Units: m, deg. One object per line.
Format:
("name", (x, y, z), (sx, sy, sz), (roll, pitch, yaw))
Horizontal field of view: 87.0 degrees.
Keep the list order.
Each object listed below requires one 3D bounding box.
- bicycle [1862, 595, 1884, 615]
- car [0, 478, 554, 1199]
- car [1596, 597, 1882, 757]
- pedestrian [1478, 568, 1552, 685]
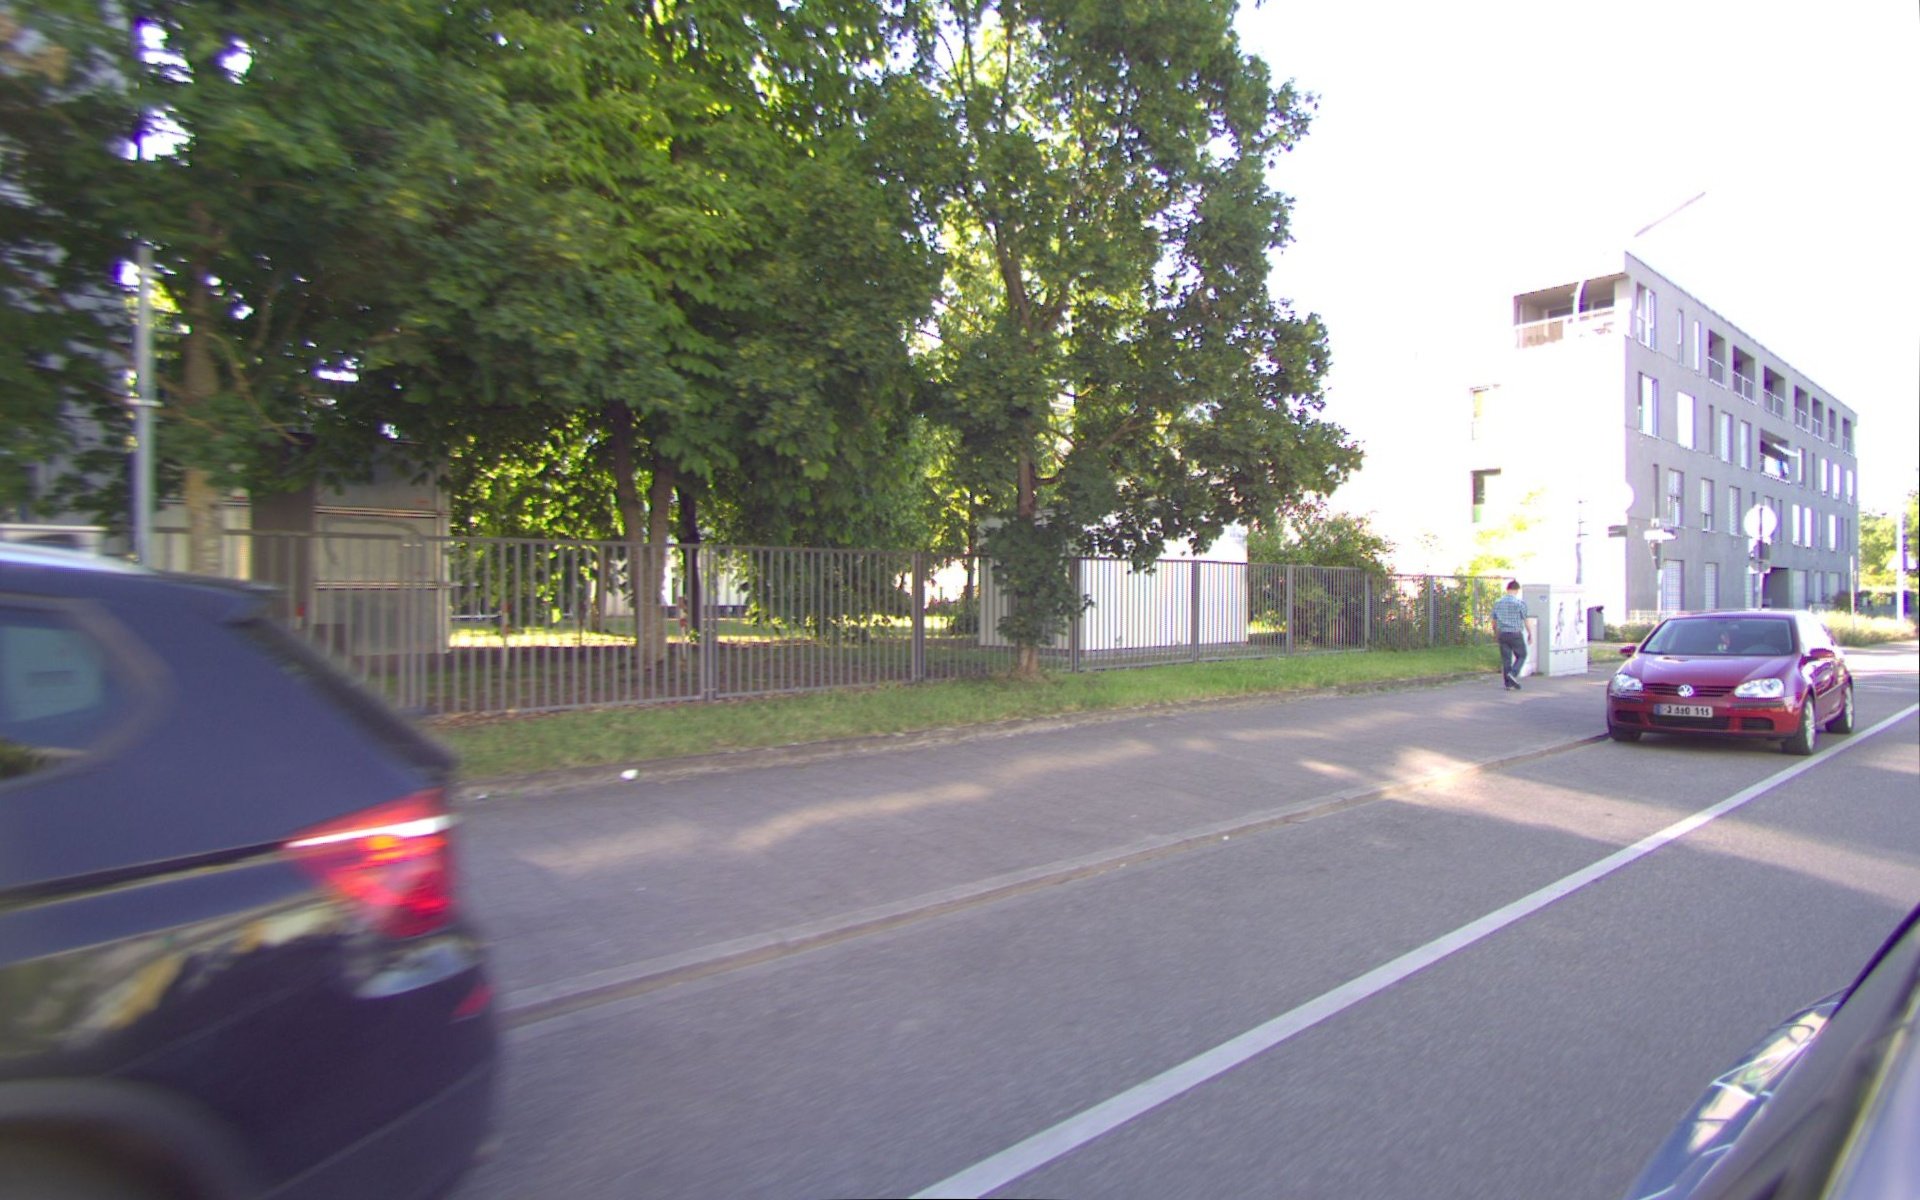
("bicycle", (51.352, 0.285, 56.902), (1.807, 1.075, 0.553), (0, -1, -37))
("car", (-3.079, 0.671, 1.185), (4.509, 1.688, 1.815), (1, -2, -39))
("car", (9.045, 0.724, 11.598), (4.571, 1.473, 1.722), (0, -1, -41))
("pedestrian", (8.828, 0.397, 16.098), (0.869, 1.780, 0.719), (0, 2, -40))
